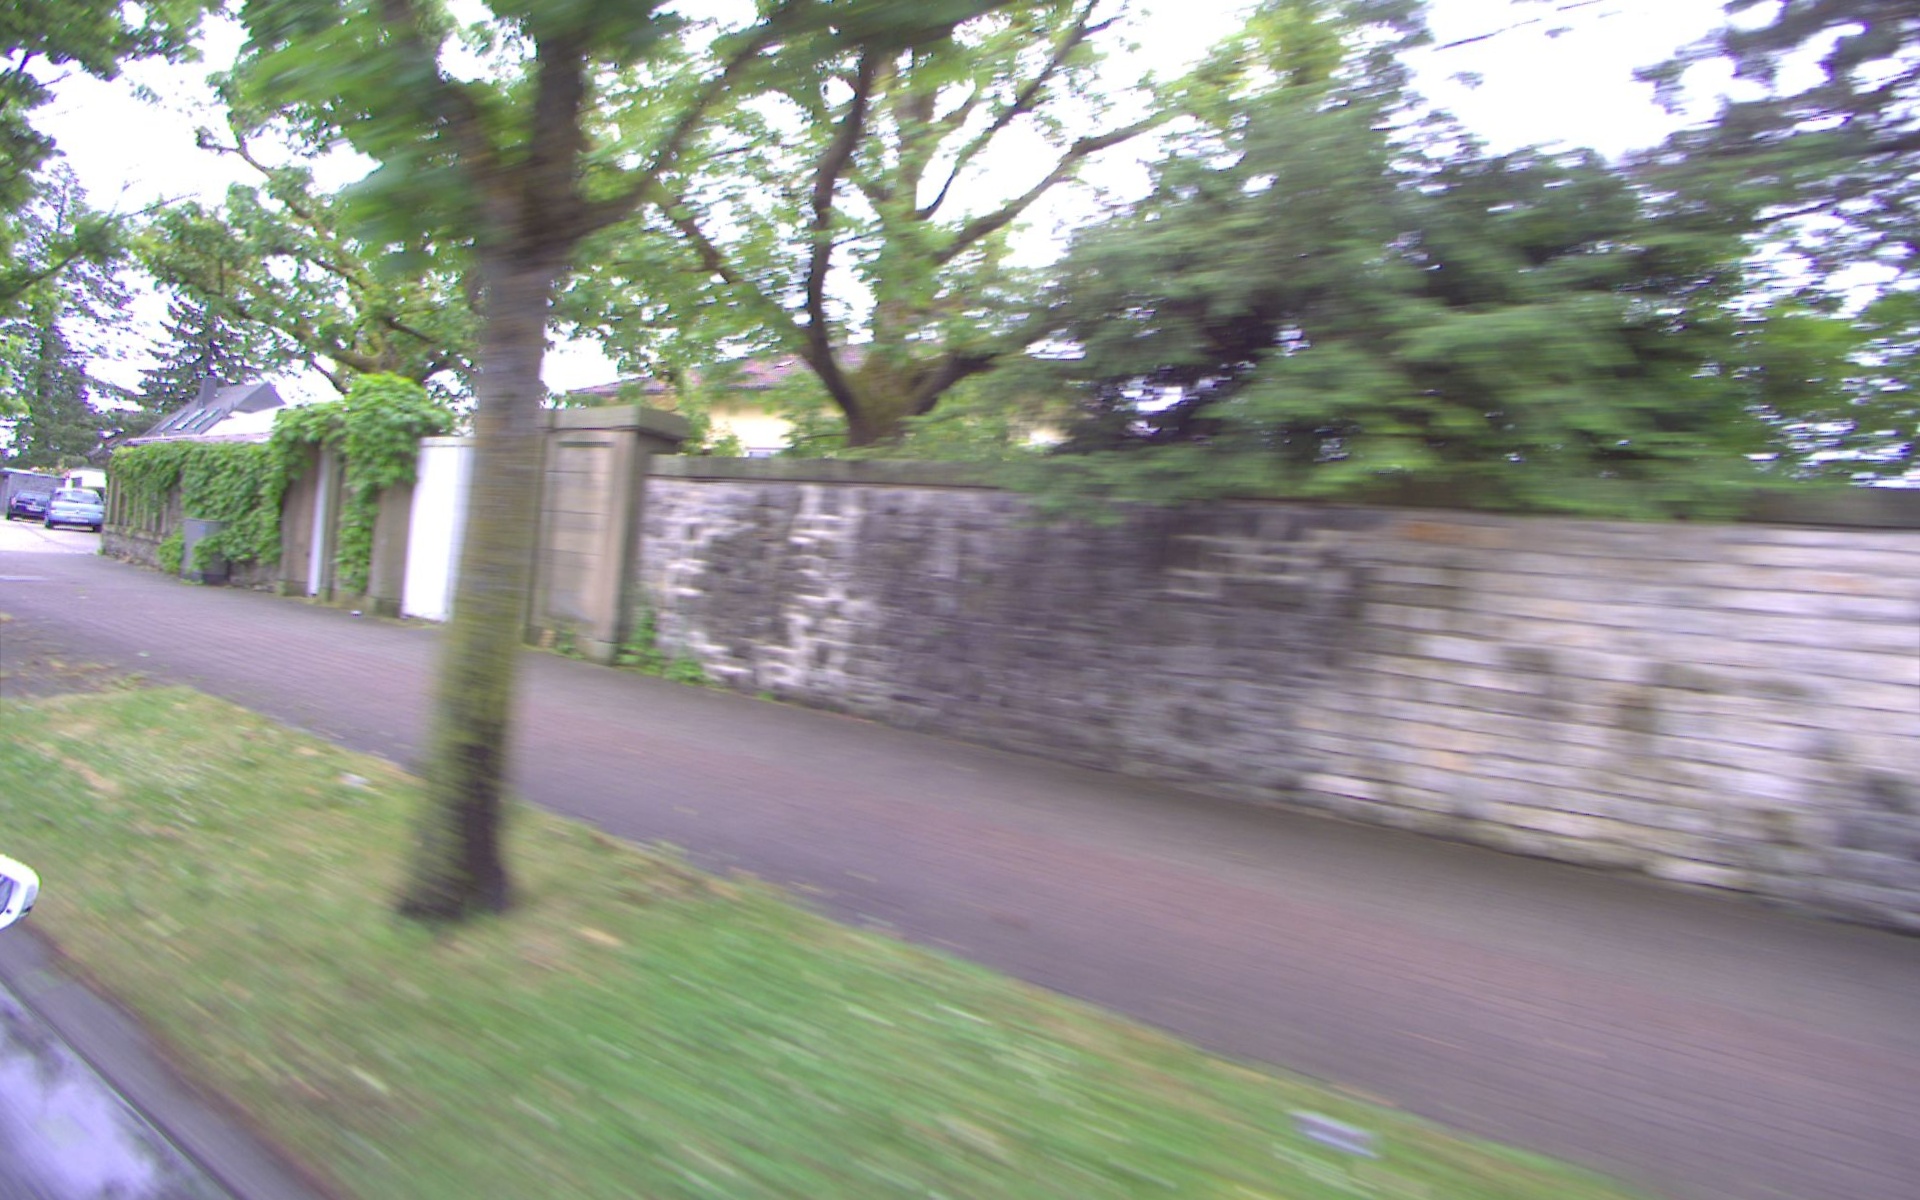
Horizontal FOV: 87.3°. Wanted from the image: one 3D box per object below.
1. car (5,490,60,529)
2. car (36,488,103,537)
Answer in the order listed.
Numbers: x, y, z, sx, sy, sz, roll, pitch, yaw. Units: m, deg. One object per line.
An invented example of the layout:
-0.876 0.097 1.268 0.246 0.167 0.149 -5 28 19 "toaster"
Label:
-44.098 -4.307 47.816 1.765 1.517 4.487 5 1 -44 "car"
-34.802 -3.415 39.283 1.738 1.631 3.950 5 1 -44 "car"
